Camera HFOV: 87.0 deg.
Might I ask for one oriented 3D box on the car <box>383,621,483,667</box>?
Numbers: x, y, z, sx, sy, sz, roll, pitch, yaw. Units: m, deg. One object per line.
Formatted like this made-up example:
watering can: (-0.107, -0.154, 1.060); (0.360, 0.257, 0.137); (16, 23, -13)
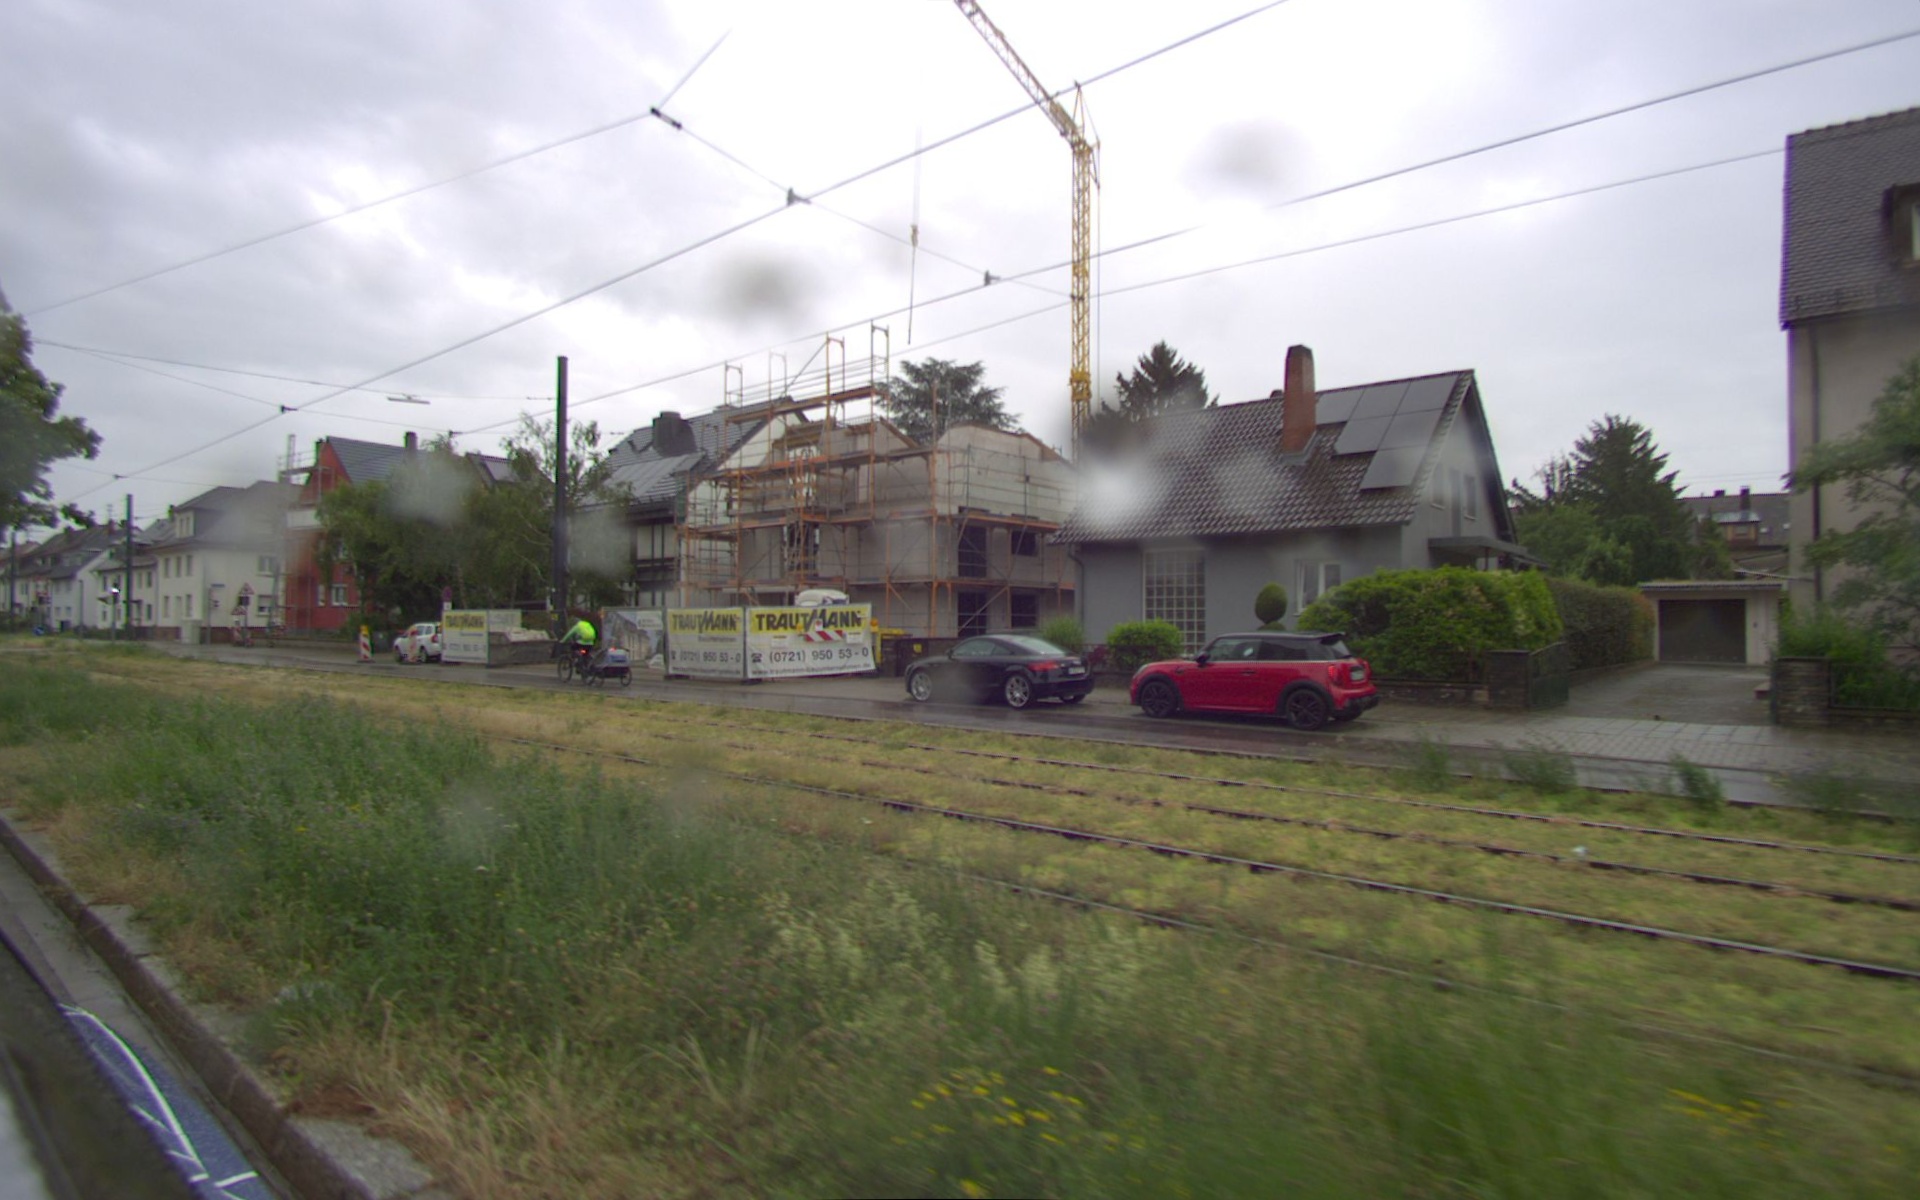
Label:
car: (-20.641, 1.685, 39.579); (4.247, 1.640, 1.974); (0, 0, 39)

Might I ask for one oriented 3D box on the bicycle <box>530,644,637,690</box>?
bicycle: (-9.479, 1.642, 25.394); (3.431, 1.051, 0.925); (-1, -2, 40)

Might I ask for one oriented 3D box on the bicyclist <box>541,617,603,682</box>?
bicyclist: (-9.864, 1.233, 25.714); (1.399, 1.596, 0.943); (0, 0, 41)

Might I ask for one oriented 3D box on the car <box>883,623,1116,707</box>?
car: (0.701, 1.228, 19.591); (4.171, 1.420, 1.973); (-3, -2, 41)

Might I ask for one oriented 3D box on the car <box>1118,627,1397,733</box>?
car: (4.704, 1.177, 16.214); (3.841, 1.383, 1.973); (0, 0, 41)

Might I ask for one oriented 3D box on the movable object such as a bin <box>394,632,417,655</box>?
movable object such as a bin: (-28.452, 2.212, 51.902); (0.821, 1.156, 0.802); (0, 0, 41)
